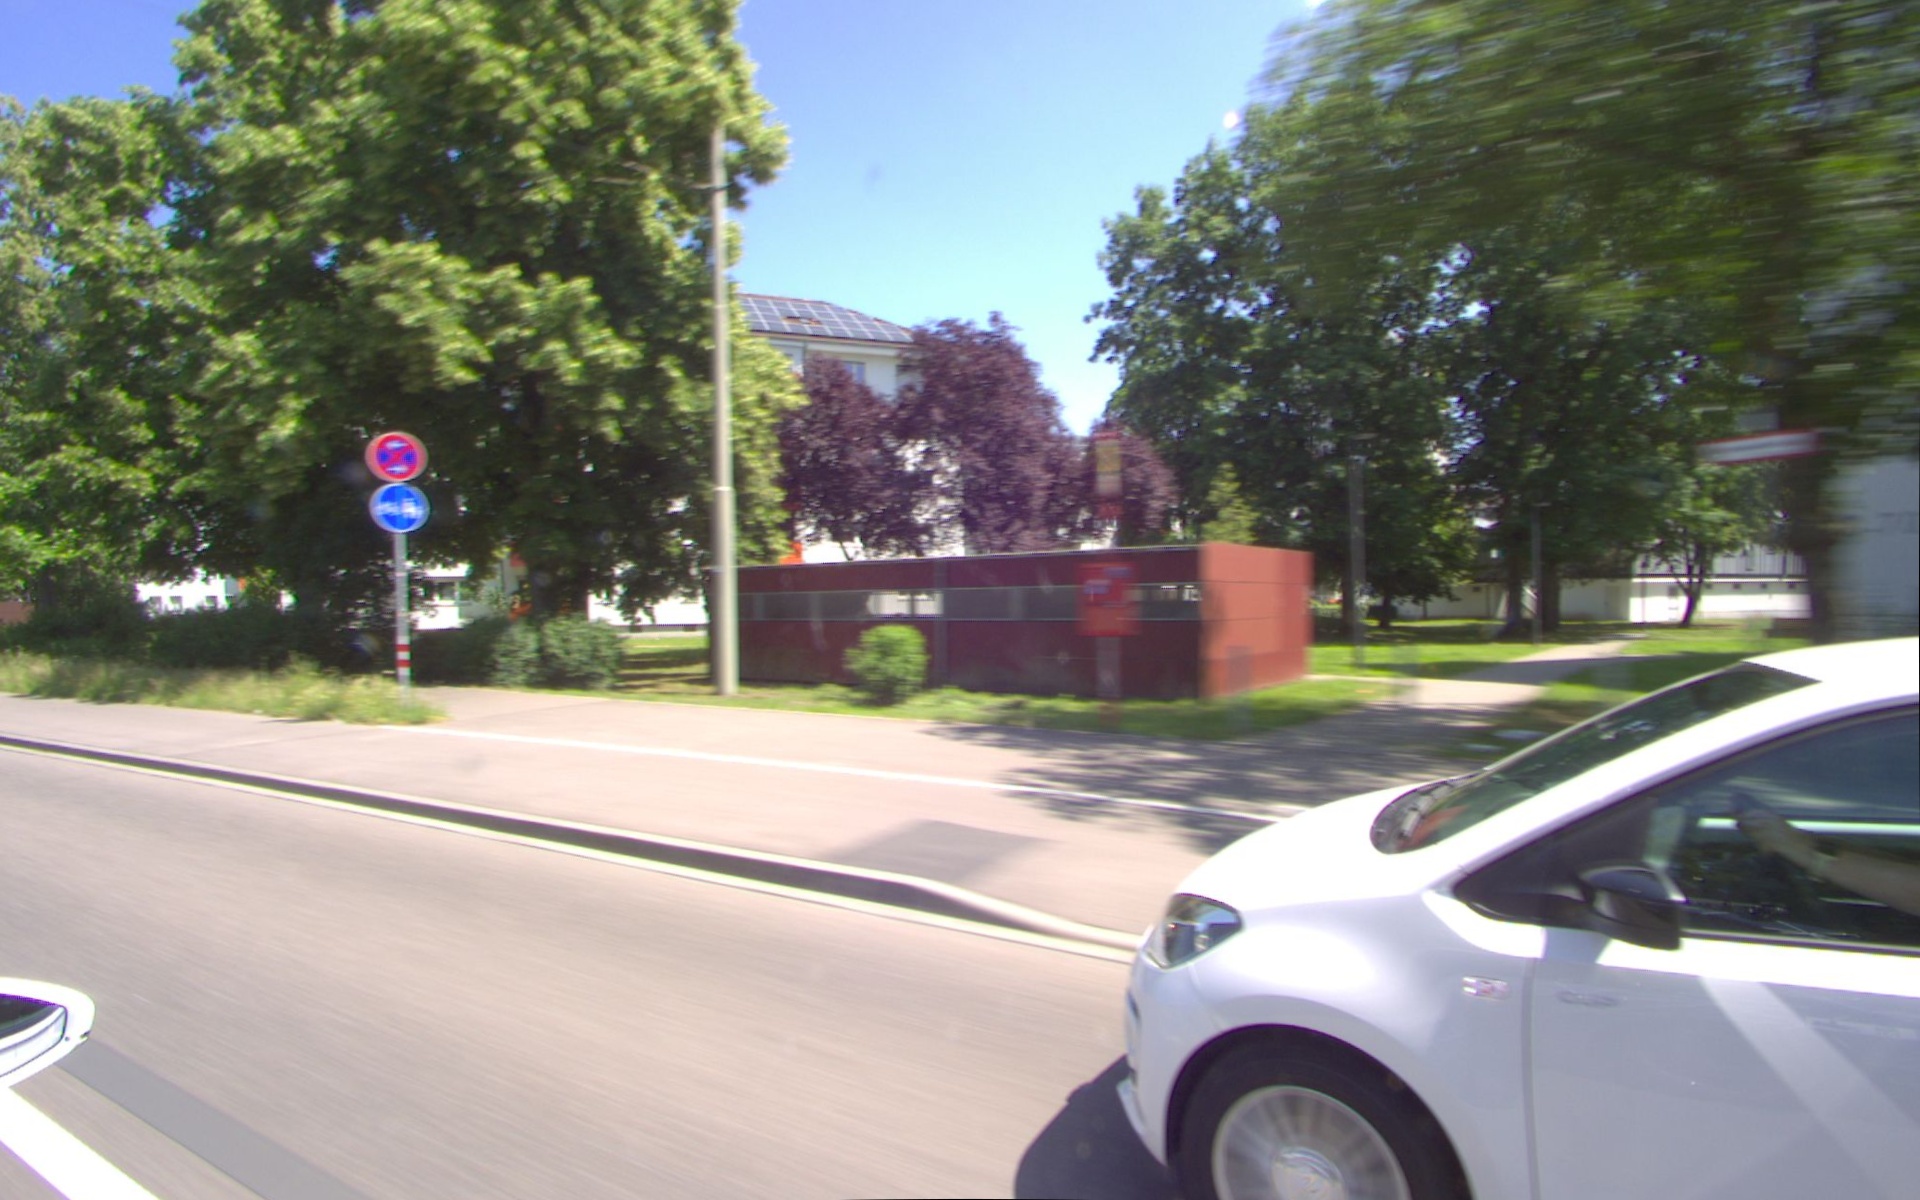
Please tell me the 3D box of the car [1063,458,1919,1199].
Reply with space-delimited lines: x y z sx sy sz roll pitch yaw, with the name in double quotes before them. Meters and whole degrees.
"car" 2.285 0.520 2.082 3.799 1.468 1.656 -1 -1 32
